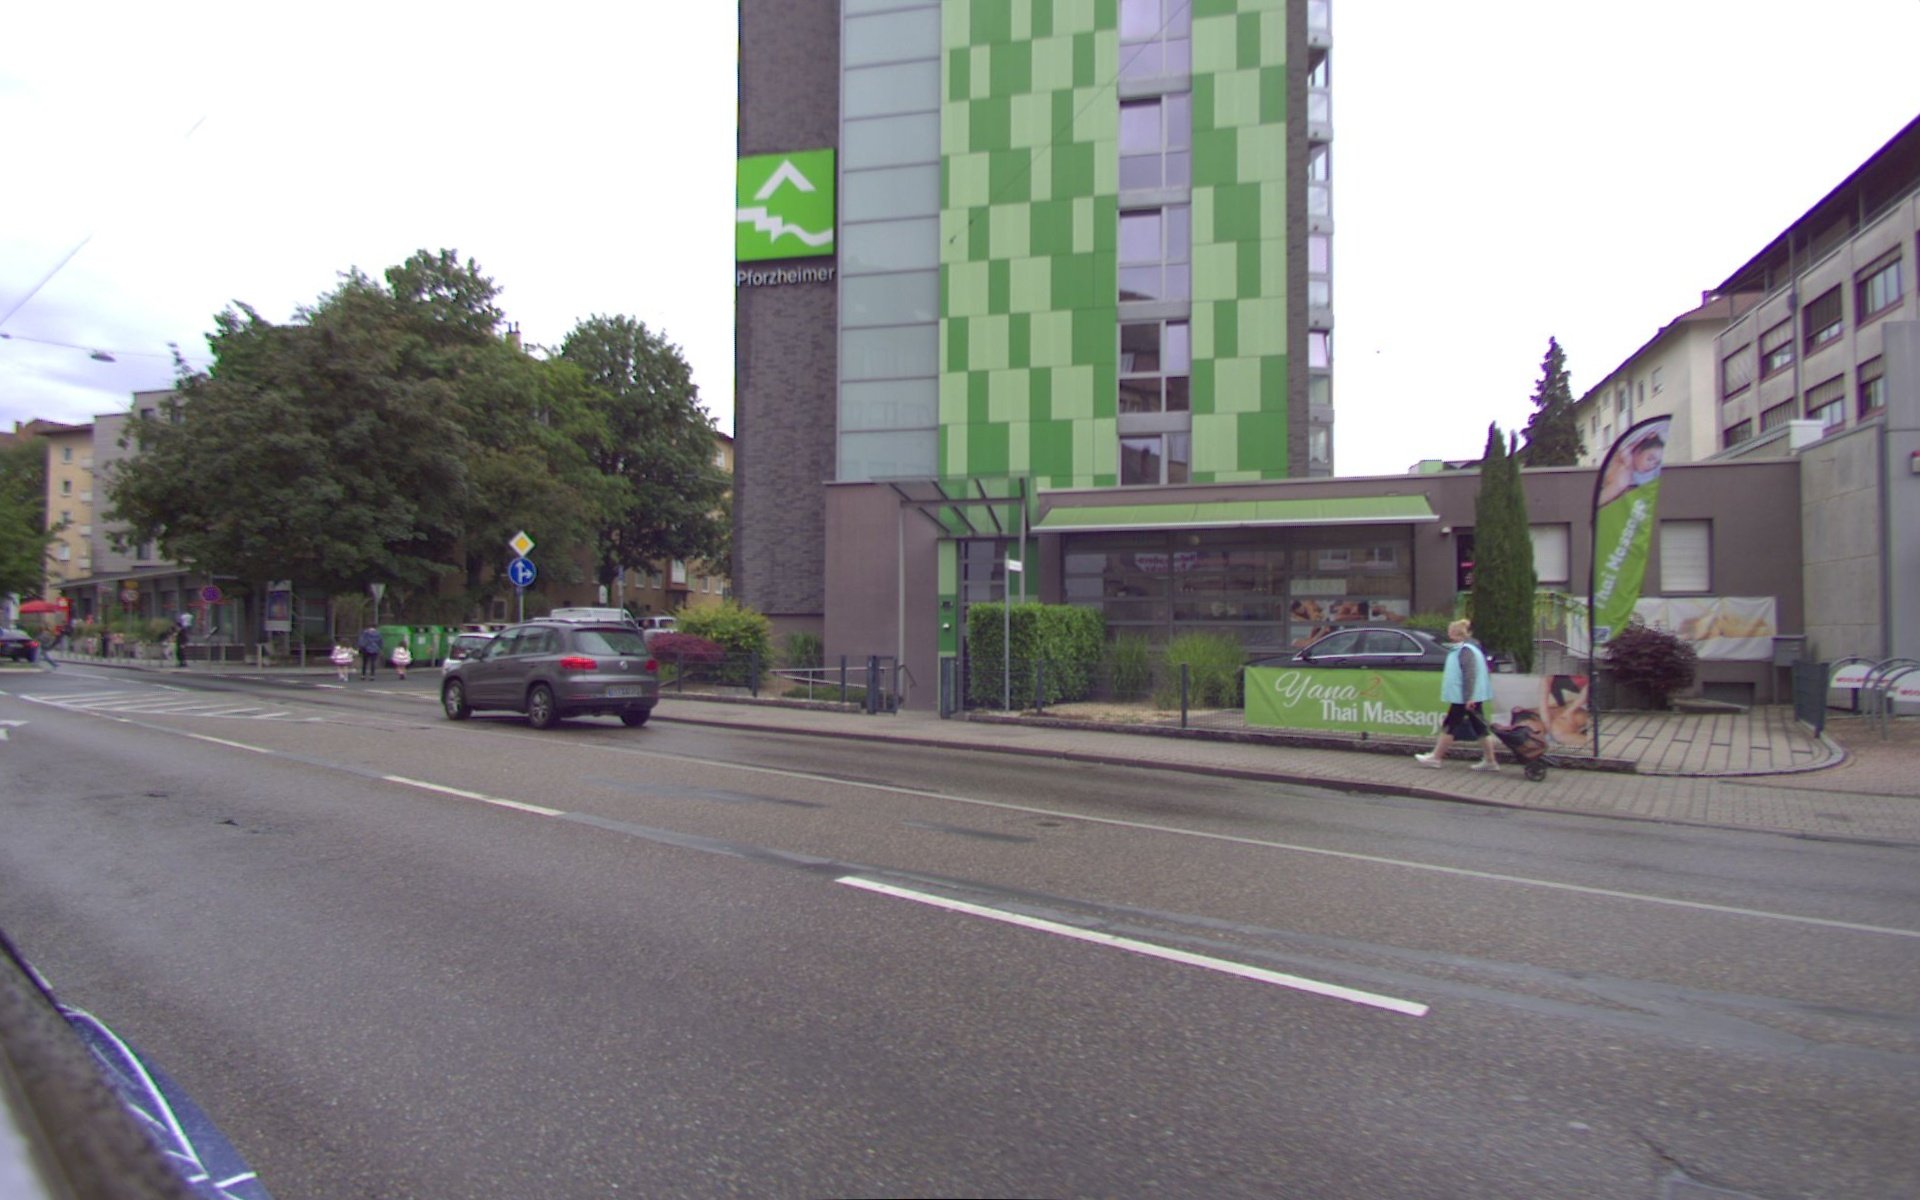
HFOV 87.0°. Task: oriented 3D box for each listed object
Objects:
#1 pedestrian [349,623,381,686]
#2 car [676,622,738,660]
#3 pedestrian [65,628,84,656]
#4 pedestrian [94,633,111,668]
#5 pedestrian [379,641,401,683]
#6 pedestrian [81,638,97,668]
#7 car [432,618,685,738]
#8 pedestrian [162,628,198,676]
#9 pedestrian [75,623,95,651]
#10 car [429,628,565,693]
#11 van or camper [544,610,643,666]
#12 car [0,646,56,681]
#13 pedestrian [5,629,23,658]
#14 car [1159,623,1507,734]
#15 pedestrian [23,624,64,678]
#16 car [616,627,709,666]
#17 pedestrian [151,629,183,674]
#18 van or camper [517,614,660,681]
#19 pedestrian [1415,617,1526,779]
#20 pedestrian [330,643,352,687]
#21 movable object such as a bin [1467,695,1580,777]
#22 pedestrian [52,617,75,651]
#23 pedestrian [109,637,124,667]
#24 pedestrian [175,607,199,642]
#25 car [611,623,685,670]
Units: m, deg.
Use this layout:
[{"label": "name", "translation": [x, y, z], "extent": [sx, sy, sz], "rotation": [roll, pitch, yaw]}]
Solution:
[{"label": "pedestrian", "translation": [-16.995, 1.556, 28.923], "extent": [0.579, 1.775, 0.569], "rotation": [-2, -3, 32]}, {"label": "car", "translation": [-14.284, 2.287, 57.290], "extent": [1.978, 2.029, 3.987], "rotation": [-1, -1, 10]}, {"label": "pedestrian", "translation": [-54.261, 2.567, 62.009], "extent": [0.712, 1.691, 0.707], "rotation": [-2, -2, 38]}, {"label": "pedestrian", "translation": [-41.829, 2.459, 49.385], "extent": [0.551, 1.686, 0.493], "rotation": [-2, -2, 35]}, {"label": "pedestrian", "translation": [-16.546, 1.794, 29.388], "extent": [0.357, 1.207, 0.406], "rotation": [-2, -3, 32]}, {"label": "pedestrian", "translation": [-42.140, 2.548, 48.964], "extent": [0.480, 1.421, 0.429], "rotation": [-2, -2, 35]}, {"label": "car", "translation": [-6.483, 1.178, 16.197], "extent": [4.050, 1.672, 1.930], "rotation": [-1, -4, 37]}, {"label": "pedestrian", "translation": [-30.541, 2.012, 39.614], "extent": [0.690, 1.859, 0.855], "rotation": [-1, -2, 24]}, {"label": "pedestrian", "translation": [-53.180, 2.229, 61.510], "extent": [0.701, 1.691, 0.803], "rotation": [0, -2, -24]}, {"label": "car", "translation": [-13.047, 1.653, 28.732], "extent": [1.723, 1.581, 3.575], "rotation": [0, 0, 12]}, {"label": "van or camper", "translation": [-16.239, 1.647, 45.084], "extent": [2.187, 2.283, 4.605], "rotation": [-2, 0, 9]}, {"label": "car", "translation": [-42.758, 2.840, 45.789], "extent": [4.494, 1.436, 1.994], "rotation": [-1, -2, 38]}, {"label": "pedestrian", "translation": [-61.936, 2.848, 66.260], "extent": [0.867, 1.833, 0.585], "rotation": [-1, -2, 30]}, {"label": "car", "translation": [5.592, 1.120, 15.657], "extent": [1.970, 1.450, 4.656], "rotation": [2, -3, -44]}, {"label": "pedestrian", "translation": [-32.044, 1.770, 35.372], "extent": [0.847, 1.840, 0.719], "rotation": [-2, -2, 16]}, {"label": "car", "translation": [-11.572, 1.799, 39.597], "extent": [1.980, 1.454, 3.713], "rotation": [-1, -2, 12]}, {"label": "pedestrian", "translation": [-31.281, 2.032, 39.921], "extent": [0.714, 1.772, 0.654], "rotation": [-1, -2, 15]}, {"label": "van or camper", "translation": [-12.243, 1.528, 33.764], "extent": [1.981, 2.029, 4.943], "rotation": [-2, -2, 15]}, {"label": "pedestrian", "translation": [5.565, 1.049, 11.069], "extent": [0.742, 1.698, 0.749], "rotation": [0, -3, -6]}, {"label": "pedestrian", "translation": [-17.347, 1.820, 28.362], "extent": [0.310, 1.207, 0.406], "rotation": [-2, -3, 32]}, {"label": "movable object such as a bin", "translation": [5.971, 1.429, 10.759], "extent": [0.742, 0.795, 0.734], "rotation": [1, -2, -6]}, {"label": "pedestrian", "translation": [-50.399, 1.912, 56.905], "extent": [0.716, 1.840, 0.719], "rotation": [-2, -2, 19]}, {"label": "pedestrian", "translation": [-41.436, 2.542, 49.717], "extent": [0.529, 1.484, 0.456], "rotation": [-2, -2, 35]}, {"label": "pedestrian", "translation": [-41.160, 1.307, 53.860], "extent": [0.714, 1.840, 0.721], "rotation": [-2, -2, 10]}, {"label": "car", "translation": [-15.762, 2.374, 51.362], "extent": [1.978, 2.273, 3.987], "rotation": [-1, -3, 10]}]
